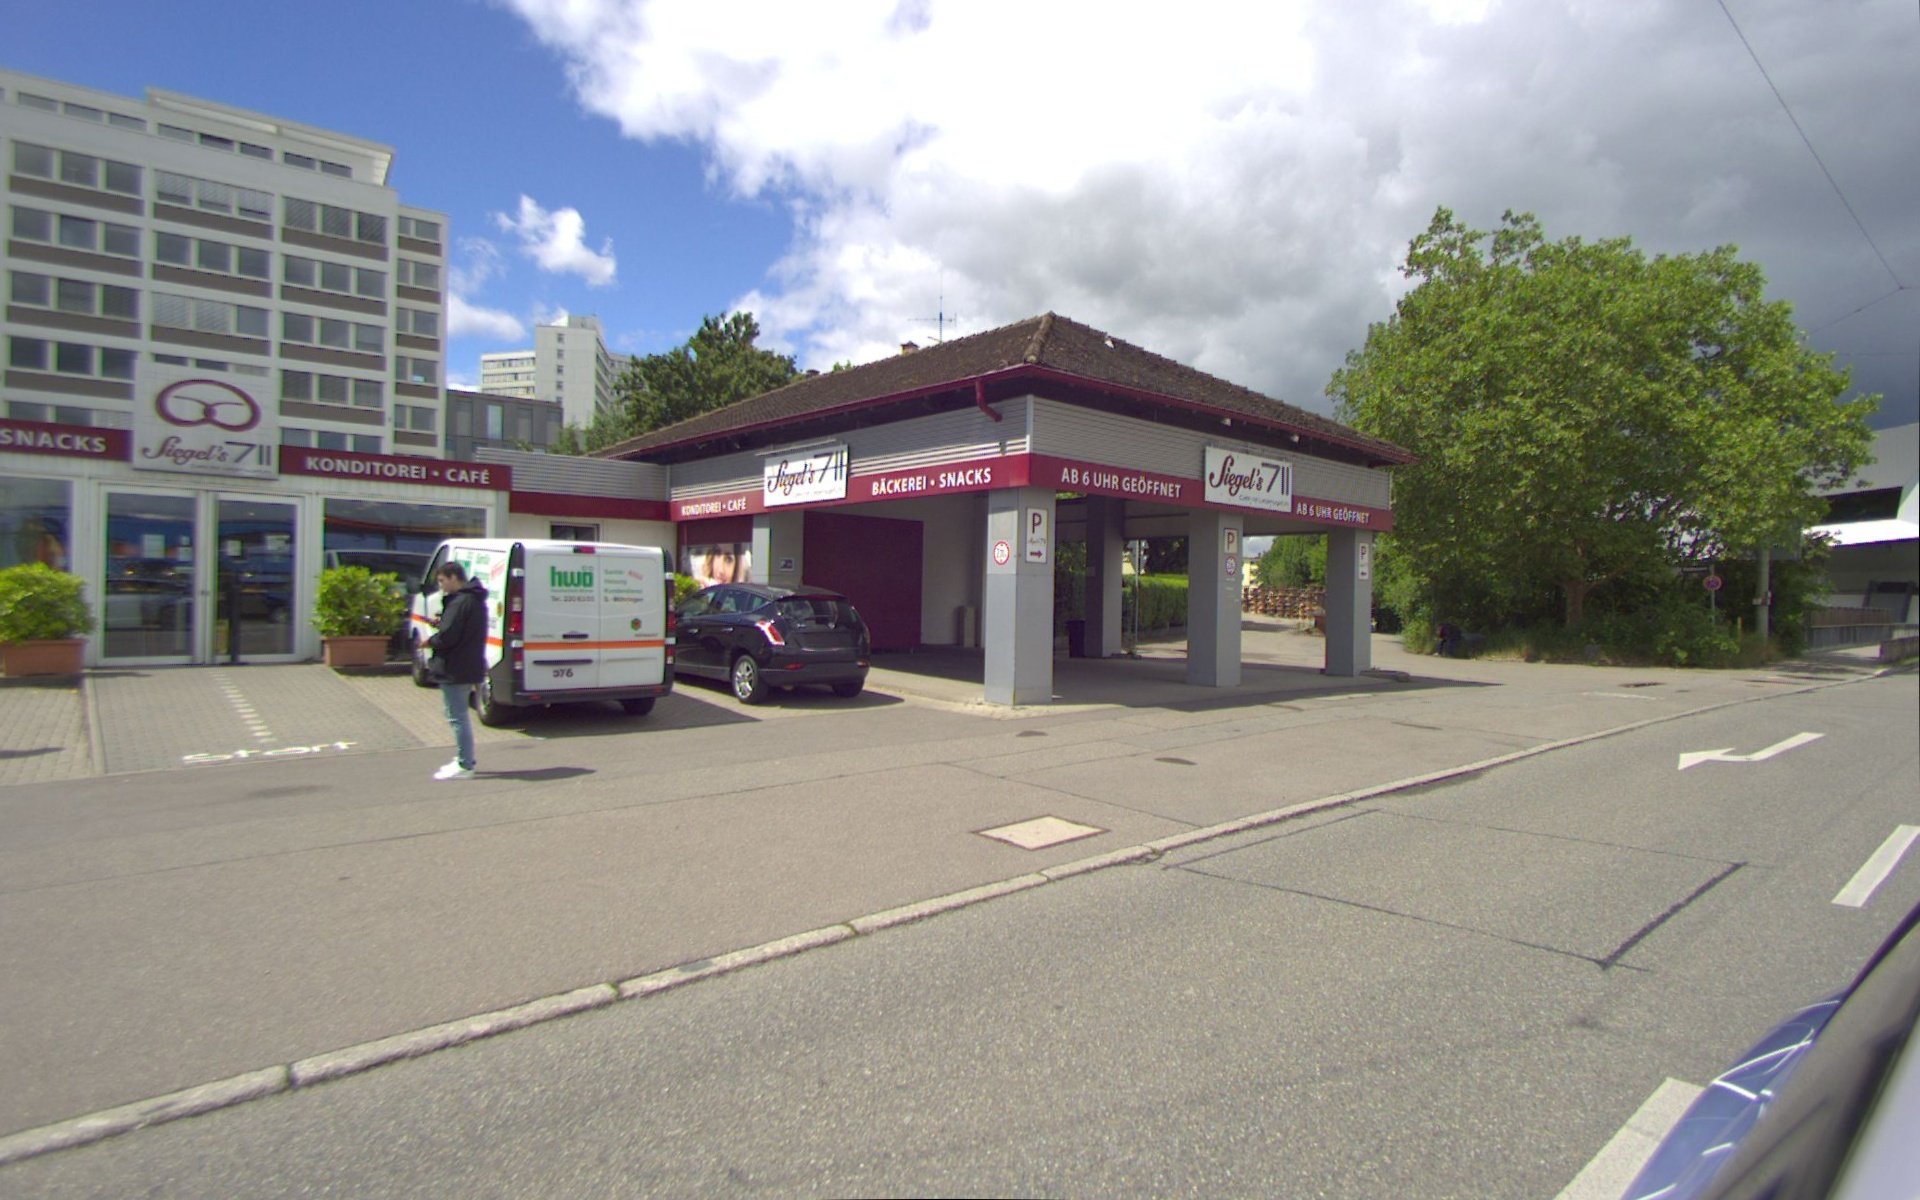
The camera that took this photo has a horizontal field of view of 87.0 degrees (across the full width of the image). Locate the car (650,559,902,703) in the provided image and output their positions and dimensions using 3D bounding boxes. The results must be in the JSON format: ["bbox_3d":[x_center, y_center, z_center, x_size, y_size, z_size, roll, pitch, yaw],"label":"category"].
[{"bbox_3d":[-2.613,0.310,13.894,1.804,1.503,3.458,-1,6,-43],"label":"car"}]

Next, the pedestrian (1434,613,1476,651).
[{"bbox_3d":[17.097,1.094,34.943,0.945,1.264,0.888,1,0,-12],"label":"pedestrian"}]

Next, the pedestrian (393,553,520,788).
[{"bbox_3d":[-3.958,0.513,7.952,0.726,1.729,0.713,1,0,-40],"label":"pedestrian"}]

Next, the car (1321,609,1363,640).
[{"bbox_3d":[22.994,1.437,60.872,1.980,1.526,3.966,6,4,25],"label":"car"}]

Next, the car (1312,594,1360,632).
[{"bbox_3d":[20.498,0.674,55.097,1.981,1.739,4.077,6,4,25],"label":"car"}]

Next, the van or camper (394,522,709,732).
[{"bbox_3d":[-5.185,0.111,12.362,2.173,1.981,4.910,-1,4,-40],"label":"van or camper"}]
